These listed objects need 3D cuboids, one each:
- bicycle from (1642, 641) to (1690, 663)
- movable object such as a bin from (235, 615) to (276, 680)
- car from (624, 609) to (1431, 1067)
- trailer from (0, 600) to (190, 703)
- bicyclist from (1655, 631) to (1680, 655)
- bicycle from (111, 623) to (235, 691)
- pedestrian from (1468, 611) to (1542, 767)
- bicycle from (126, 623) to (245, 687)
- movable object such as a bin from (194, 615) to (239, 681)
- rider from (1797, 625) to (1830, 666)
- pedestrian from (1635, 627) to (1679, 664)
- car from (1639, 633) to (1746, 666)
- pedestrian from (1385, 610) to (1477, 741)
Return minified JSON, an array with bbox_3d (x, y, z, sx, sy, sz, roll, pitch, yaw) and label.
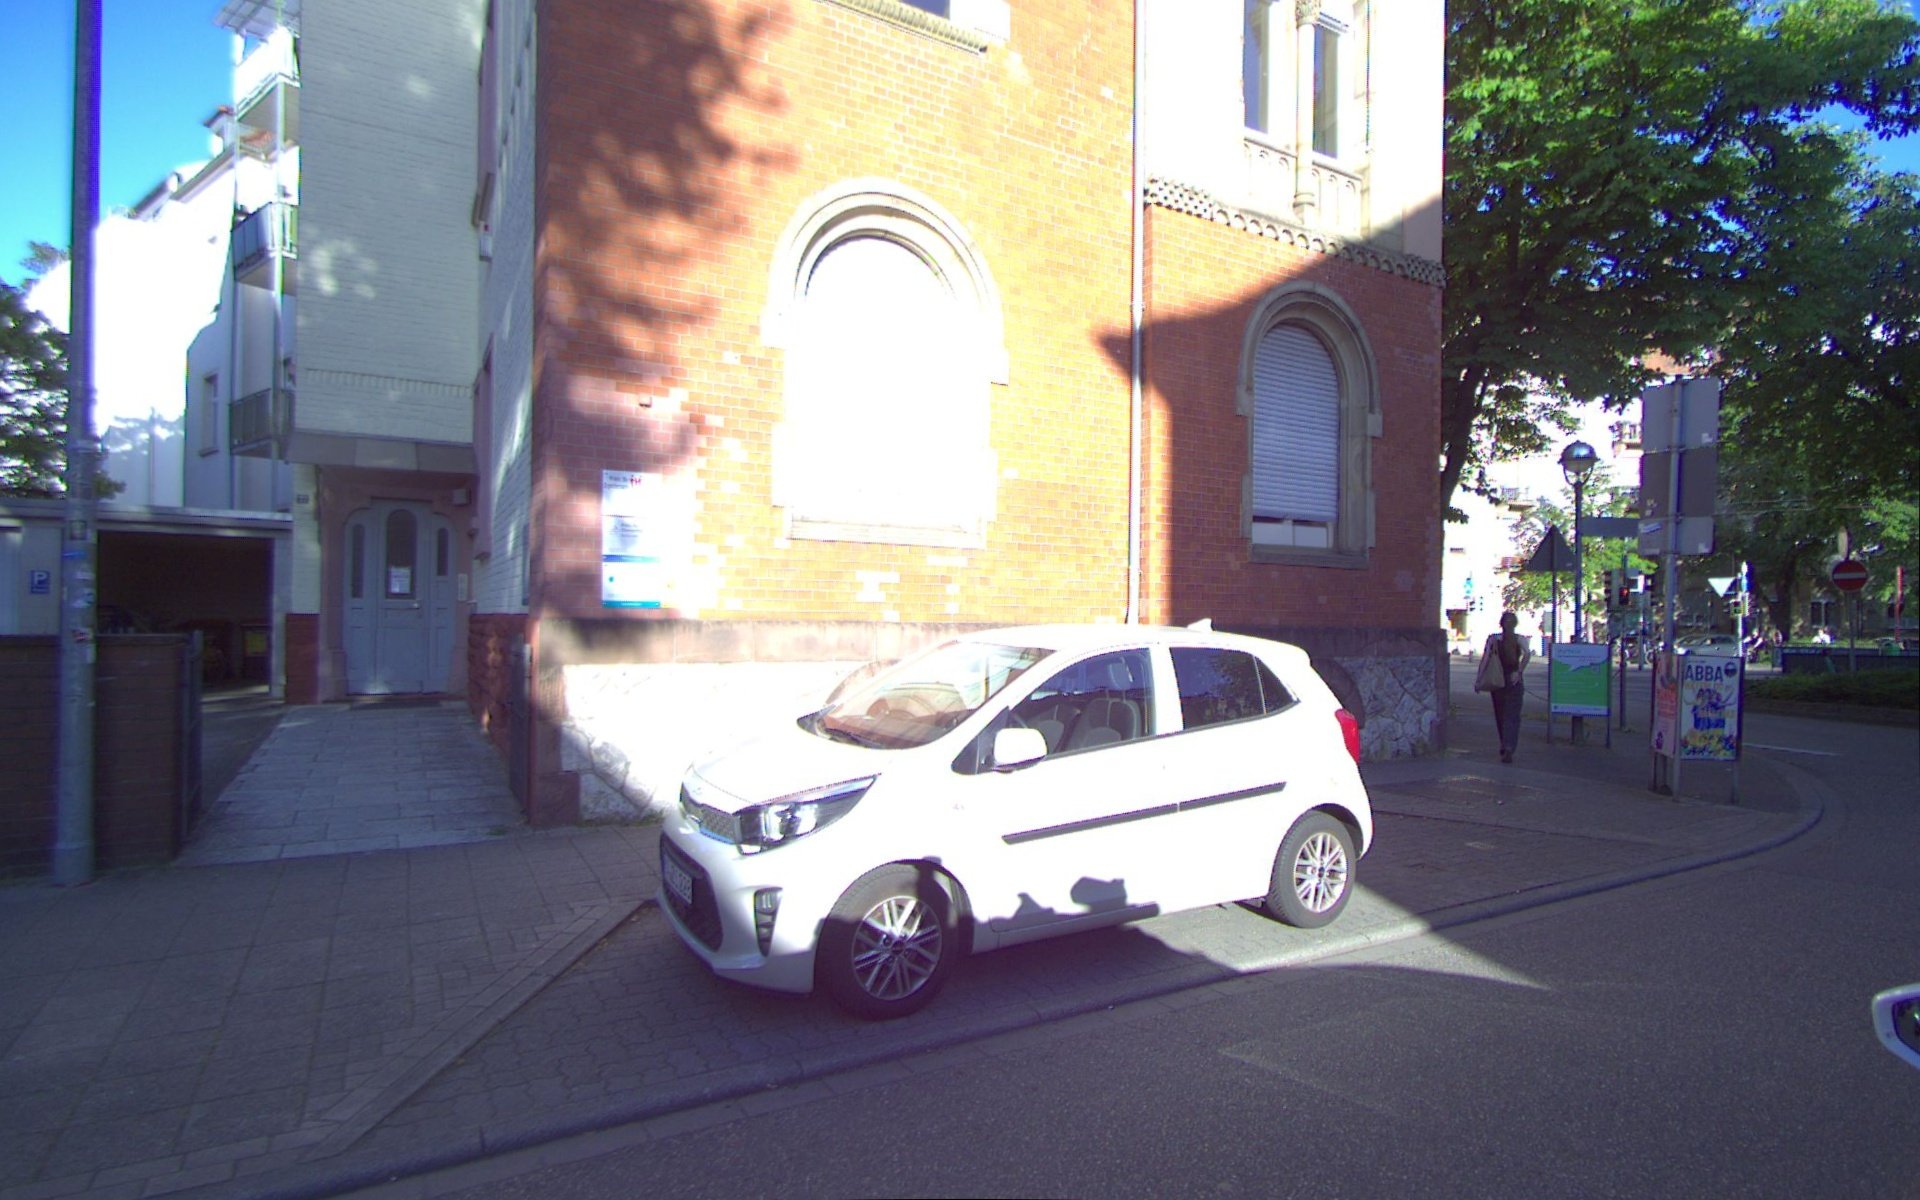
[{"bbox_3d":[31.771,2.329,45.208,1.708,0.958,0.654,0,-1,-2],"label":"bicycle"},{"bbox_3d":[-12.688,0.853,18.107,0.531,1.139,0.773,1,-1,-30],"label":"movable object such as a bin"},{"bbox_3d":[0.420,0.849,5.072,3.752,1.505,1.697,1,0,-30],"label":"car"},{"bbox_3d":[-11.364,0.676,13.241,0.757,1.234,2.410,0,-3,-7],"label":"trailer"},{"bbox_3d":[31.860,1.947,45.225,0.664,1.068,0.612,0,-1,-3],"label":"bicyclist"},{"bbox_3d":[-12.208,0.890,15.609,1.345,1.031,0.674,0,-3,1],"label":"bicycle"},{"bbox_3d":[5.975,0.941,11.006,0.592,1.626,0.852,-1,-2,36],"label":"pedestrian"},{"bbox_3d":[-12.509,0.892,16.237,1.455,1.004,0.543,0,-3,0],"label":"bicycle"},{"bbox_3d":[-13.105,0.834,17.713,0.531,1.139,0.773,1,-1,-30],"label":"movable object such as a bin"},{"bbox_3d":[36.705,1.944,43.207,0.660,1.704,0.818,1,1,-20],"label":"rider"},{"bbox_3d":[36.894,2.394,53.191,1.465,1.937,1.260,1,-1,-3],"label":"pedestrian"},{"bbox_3d":[34.045,2.297,46.741,3.635,1.458,1.900,0,-1,-4],"label":"car"},{"bbox_3d":[6.307,0.981,13.464,0.854,1.665,0.859,1,-2,-42],"label":"pedestrian"}]
